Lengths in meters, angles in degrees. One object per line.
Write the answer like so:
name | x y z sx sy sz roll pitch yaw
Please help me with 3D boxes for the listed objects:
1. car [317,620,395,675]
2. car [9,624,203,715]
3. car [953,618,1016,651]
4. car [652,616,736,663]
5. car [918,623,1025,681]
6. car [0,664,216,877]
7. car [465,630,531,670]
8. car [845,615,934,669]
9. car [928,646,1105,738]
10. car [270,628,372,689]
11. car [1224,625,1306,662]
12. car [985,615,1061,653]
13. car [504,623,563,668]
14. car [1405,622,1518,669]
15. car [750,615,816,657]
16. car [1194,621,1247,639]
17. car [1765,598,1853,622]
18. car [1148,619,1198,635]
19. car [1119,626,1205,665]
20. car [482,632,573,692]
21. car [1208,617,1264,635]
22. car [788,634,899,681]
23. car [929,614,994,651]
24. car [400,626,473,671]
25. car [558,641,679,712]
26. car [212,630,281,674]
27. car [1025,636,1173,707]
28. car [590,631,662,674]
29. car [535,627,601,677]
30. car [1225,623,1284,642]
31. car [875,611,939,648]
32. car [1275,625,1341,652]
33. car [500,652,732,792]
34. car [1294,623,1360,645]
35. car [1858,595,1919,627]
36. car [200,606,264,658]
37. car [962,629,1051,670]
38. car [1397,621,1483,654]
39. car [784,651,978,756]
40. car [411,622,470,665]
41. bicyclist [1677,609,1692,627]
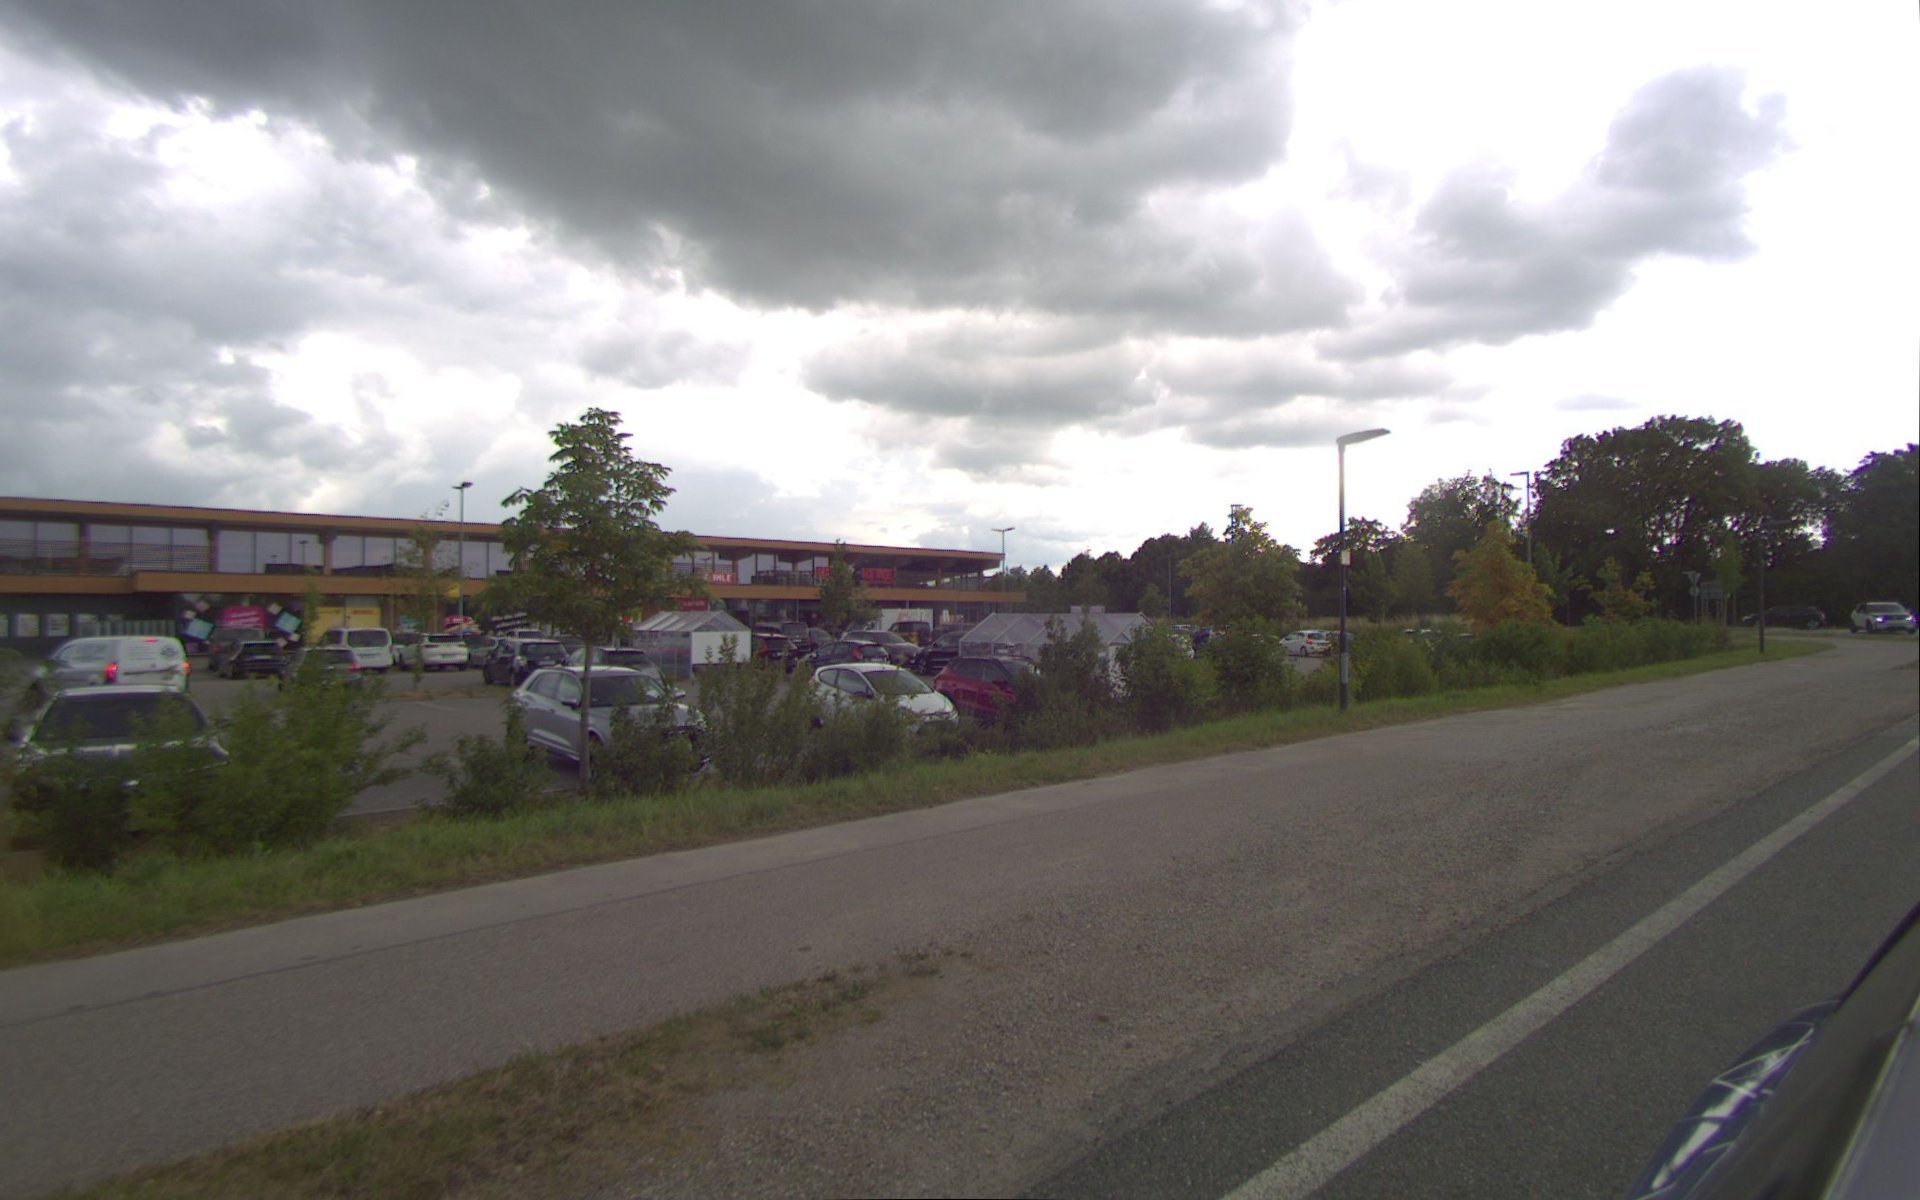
car | -24.258 1.862 40.605 2.004 1.935 3.898 0 1 -42
car | -21.656 1.664 25.648 4.896 1.930 2.090 1 1 28
car | 1.530 2.174 64.999 2.032 1.871 4.000 1 1 -35
car | -13.277 1.911 50.379 1.965 2.039 5.138 1 1 -41
car | 0.383 1.922 38.765 1.962 1.894 4.274 1 1 -35
car | -10.215 1.771 12.039 1.728 1.618 5.103 0 1 -42
car | -20.517 2.175 44.876 1.761 1.496 3.745 0 1 -40
car | -3.056 1.729 43.215 1.962 2.039 4.000 1 1 -35
car | 1.145 1.891 21.801 1.647 1.557 3.762 0 1 -42
car | -18.754 1.637 29.614 1.869 1.451 4.184 0 1 -42
car | 14.742 2.110 49.024 1.771 1.728 3.385 0 -3 -41
car | 3.481 1.869 56.399 1.962 1.894 4.274 1 1 -35
car | -21.924 2.294 51.922 1.962 2.039 4.000 1 1 -35
car | 21.184 1.882 42.862 1.629 1.727 3.994 1 1 -41
car | -9.608 1.911 54.779 1.962 2.039 4.000 1 1 -35
car | 21.636 2.514 84.050 3.916 1.377 1.705 1 0 -13
car | 53.634 0.612 64.000 3.964 1.438 1.699 1 1 29
car | 18.745 2.358 88.927 3.916 1.377 1.705 1 0 -13
car | 9.216 2.037 46.424 1.723 1.552 3.555 0 1 -41
car | -14.336 1.979 33.452 1.962 1.638 4.000 1 1 -35
car | 22.015 2.058 80.841 3.916 1.377 1.705 1 0 -13
car | -4.105 1.968 35.282 1.965 1.460 3.993 0 -1 -41
car | 0.042 1.951 62.140 2.032 2.039 4.000 1 1 -35
car | -22.339 2.015 43.136 2.003 1.628 3.745 0 1 -40
car | -9.815 2.103 28.918 1.964 1.638 3.995 0 1 -40
car | -26.788 1.916 37.967 1.744 1.399 3.466 0 1 -42
car | 3.675 1.862 27.203 1.647 1.557 3.762 0 1 -42
car | -18.535 2.862 56.075 1.965 2.039 5.138 1 1 -41
car | -18.500 2.391 47.697 1.962 2.039 4.000 1 1 -35
car | 22.545 2.488 77.490 3.916 1.377 1.705 1 0 -13
car | -3.215 1.760 60.886 1.962 2.039 4.000 1 1 -35
car | 20.284 2.214 59.134 1.806 1.377 4.008 1 1 -12
car | -5.583 1.789 16.142 2.045 1.618 4.153 0 1 -42
car | 24.840 2.312 68.559 3.916 1.377 1.705 1 0 -13
car | 47.354 0.520 51.054 1.978 1.538 3.741 1 1 23
car | -31.398 1.306 43.619 1.819 2.035 4.224 1 1 -42
car | 2.096 2.221 46.422 1.962 1.571 4.131 1 1 -35
car | 26.805 2.088 56.556 4.154 1.738 1.705 1 0 -13
car | -1.650 1.932 19.983 1.647 1.557 4.153 0 1 -42
car | -24.691 2.010 48.028 1.908 1.772 4.000 1 1 -35
bicyclist | 50.275 1.240 70.261 0.545 1.259 0.659 1 0 0
